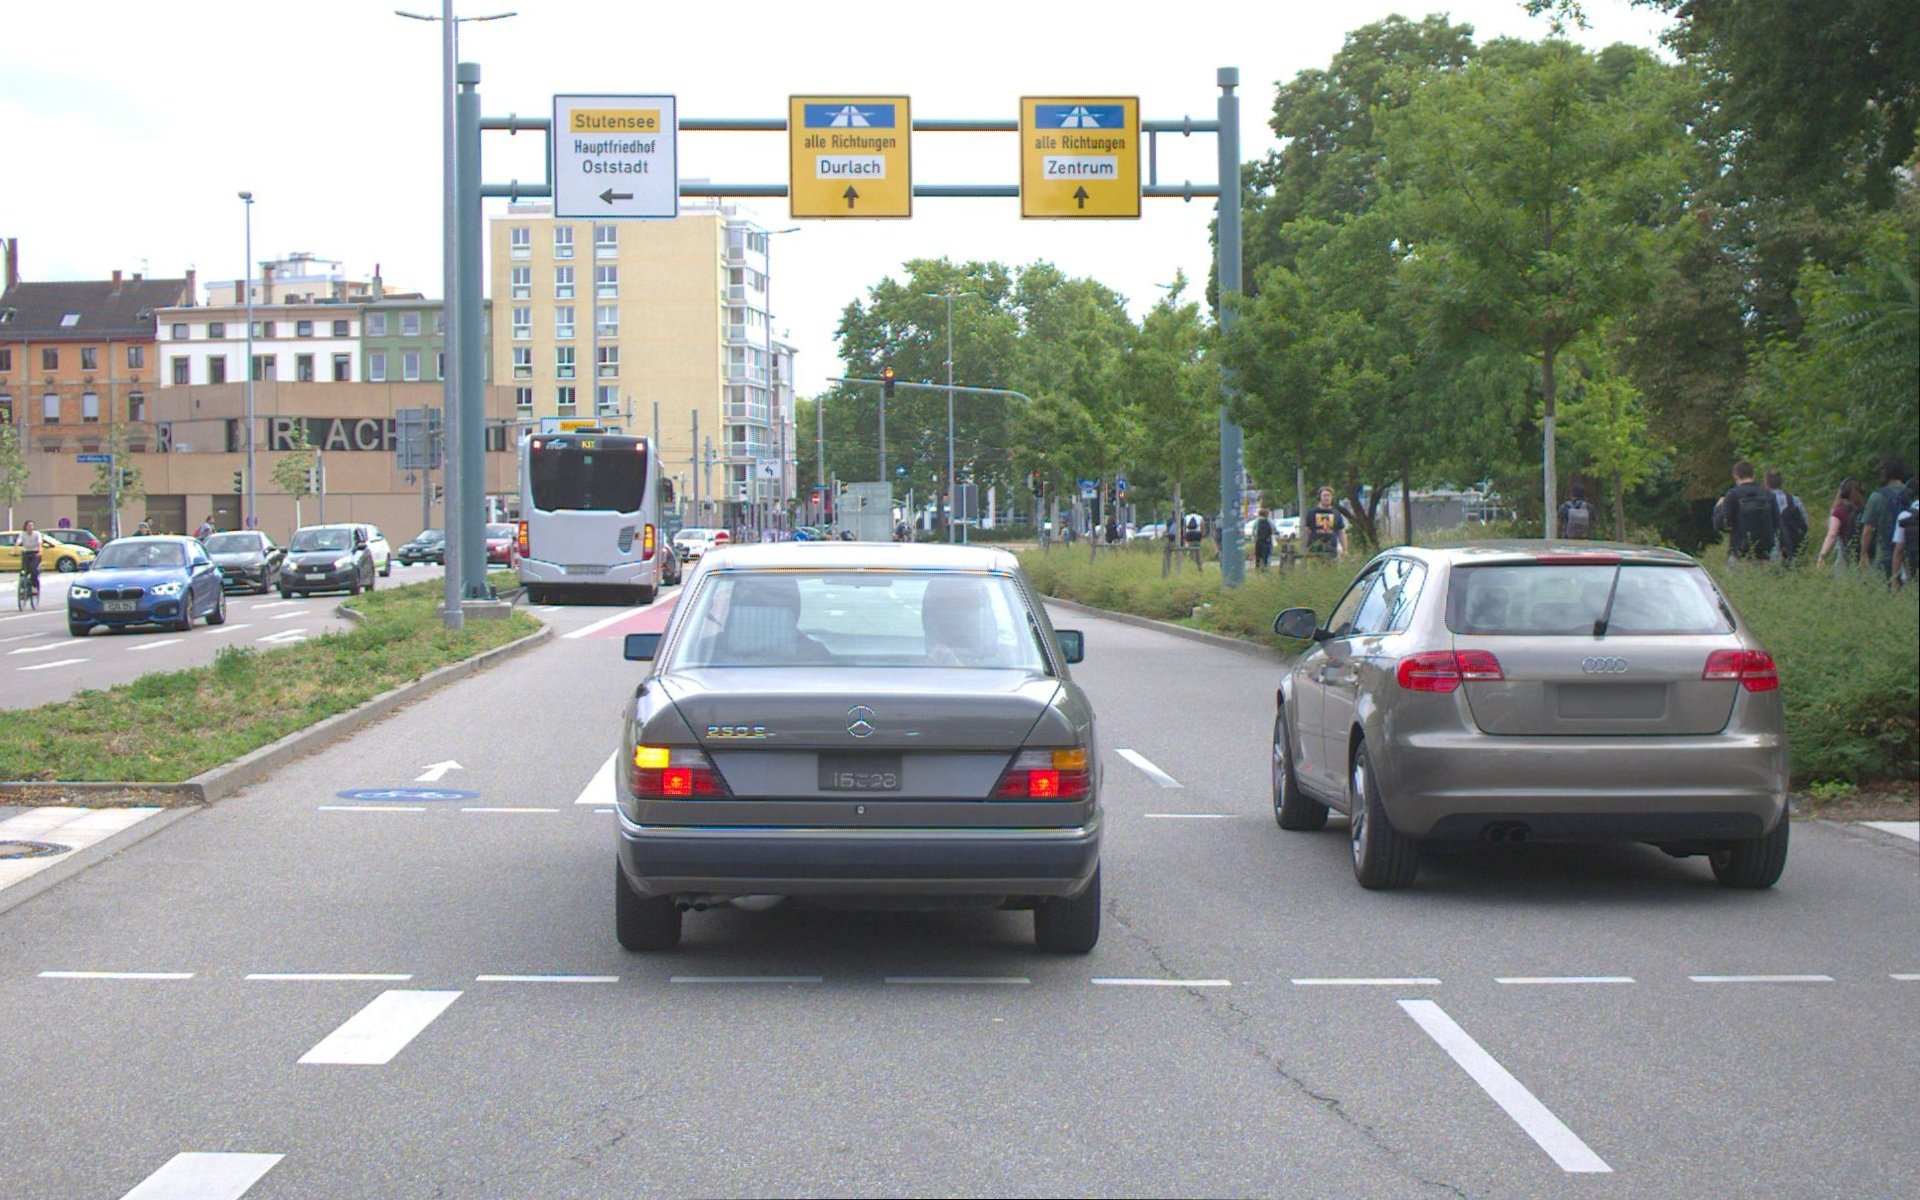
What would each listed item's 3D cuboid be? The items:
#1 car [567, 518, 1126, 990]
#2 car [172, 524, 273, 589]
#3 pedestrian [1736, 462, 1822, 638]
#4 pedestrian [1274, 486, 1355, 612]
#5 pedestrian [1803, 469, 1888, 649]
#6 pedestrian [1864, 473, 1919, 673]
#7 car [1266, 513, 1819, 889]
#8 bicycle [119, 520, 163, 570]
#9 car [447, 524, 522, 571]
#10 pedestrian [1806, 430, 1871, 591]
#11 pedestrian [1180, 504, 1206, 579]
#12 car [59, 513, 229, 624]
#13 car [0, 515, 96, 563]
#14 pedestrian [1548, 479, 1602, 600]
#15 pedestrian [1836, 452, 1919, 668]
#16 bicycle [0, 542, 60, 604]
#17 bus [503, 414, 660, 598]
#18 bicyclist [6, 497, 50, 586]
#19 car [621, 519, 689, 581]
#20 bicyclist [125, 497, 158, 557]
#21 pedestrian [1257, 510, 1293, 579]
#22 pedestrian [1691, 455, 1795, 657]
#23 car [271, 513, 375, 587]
[{"bbox_3d":[-0.373,0.438,12.965,1.761,1.484,4.171,0,1,0],"label":"car"},{"bbox_3d":[-16.145,-0.970,75.411,1.502,1.360,3.833,0,1,-2],"label":"car"},{"bbox_3d":[8.143,-0.503,34.207,0.619,1.729,0.814,-1,1,-2],"label":"pedestrian"},{"bbox_3d":[5.199,-0.748,50.358,0.935,1.824,0.886,0,1,25],"label":"pedestrian"},{"bbox_3d":[8.211,-0.385,31.895,0.555,1.649,0.753,-1,1,-3],"label":"pedestrian"},{"bbox_3d":[7.852,-0.229,27.909,0.775,1.597,0.812,-1,1,-2],"label":"pedestrian"},{"bbox_3d":[2.437,0.346,15.247,1.724,1.452,3.736,0,1,-2],"label":"car"},{"bbox_3d":[-19.368,-1.316,81.329,0.581,1.166,1.964,0,1,-1],"label":"bicycle"},{"bbox_3d":[-15.576,-1.747,112.817,1.801,1.484,4.289,0,1,1],"label":"car"},{"bbox_3d":[8.978,-0.917,35.150,0.468,1.627,0.653,-1,1,-3],"label":"pedestrian"},{"bbox_3d":[6.210,-1.557,91.602,0.614,2.007,0.597,0,1,-4],"label":"pedestrian"},{"bbox_3d":[-12.220,-0.506,51.719,1.801,1.506,4.105,0,3,-4],"label":"car"},{"bbox_3d":[-30.279,-2.006,112.225,3.855,1.512,1.661,1,1,-8],"label":"car"},{"bbox_3d":[8.626,-0.847,48.234,0.587,1.677,0.748,-1,1,-2],"label":"pedestrian"},{"bbox_3d":[7.918,-0.349,29.316,0.656,1.815,0.812,-1,1,-2],"label":"pedestrian"},{"bbox_3d":[-18.676,-0.549,68.967,0.618,1.213,2.045,0,1,2],"label":"bicycle"},{"bbox_3d":[-7.337,-1.837,67.496,2.831,3.378,8.184,0,1,-5],"label":"bus"},{"bbox_3d":[-18.686,-1.169,68.940,0.618,1.776,0.811,0,1,2],"label":"bicyclist"},{"bbox_3d":[-7.662,-1.237,86.301,1.654,1.392,3.860,0,-1,-5],"label":"car"},{"bbox_3d":[-19.354,-1.730,81.277,0.580,1.414,0.811,0,1,-1],"label":"bicyclist"},{"bbox_3d":[7.825,-1.376,85.399,0.802,1.707,0.764,0,1,10],"label":"pedestrian"},{"bbox_3d":[7.179,-0.409,31.556,0.693,1.815,0.954,-1,1,-3],"label":"pedestrian"},{"bbox_3d":[-13.432,-1.073,72.652,1.571,1.484,3.637,-1,1,-2],"label":"car"}]
